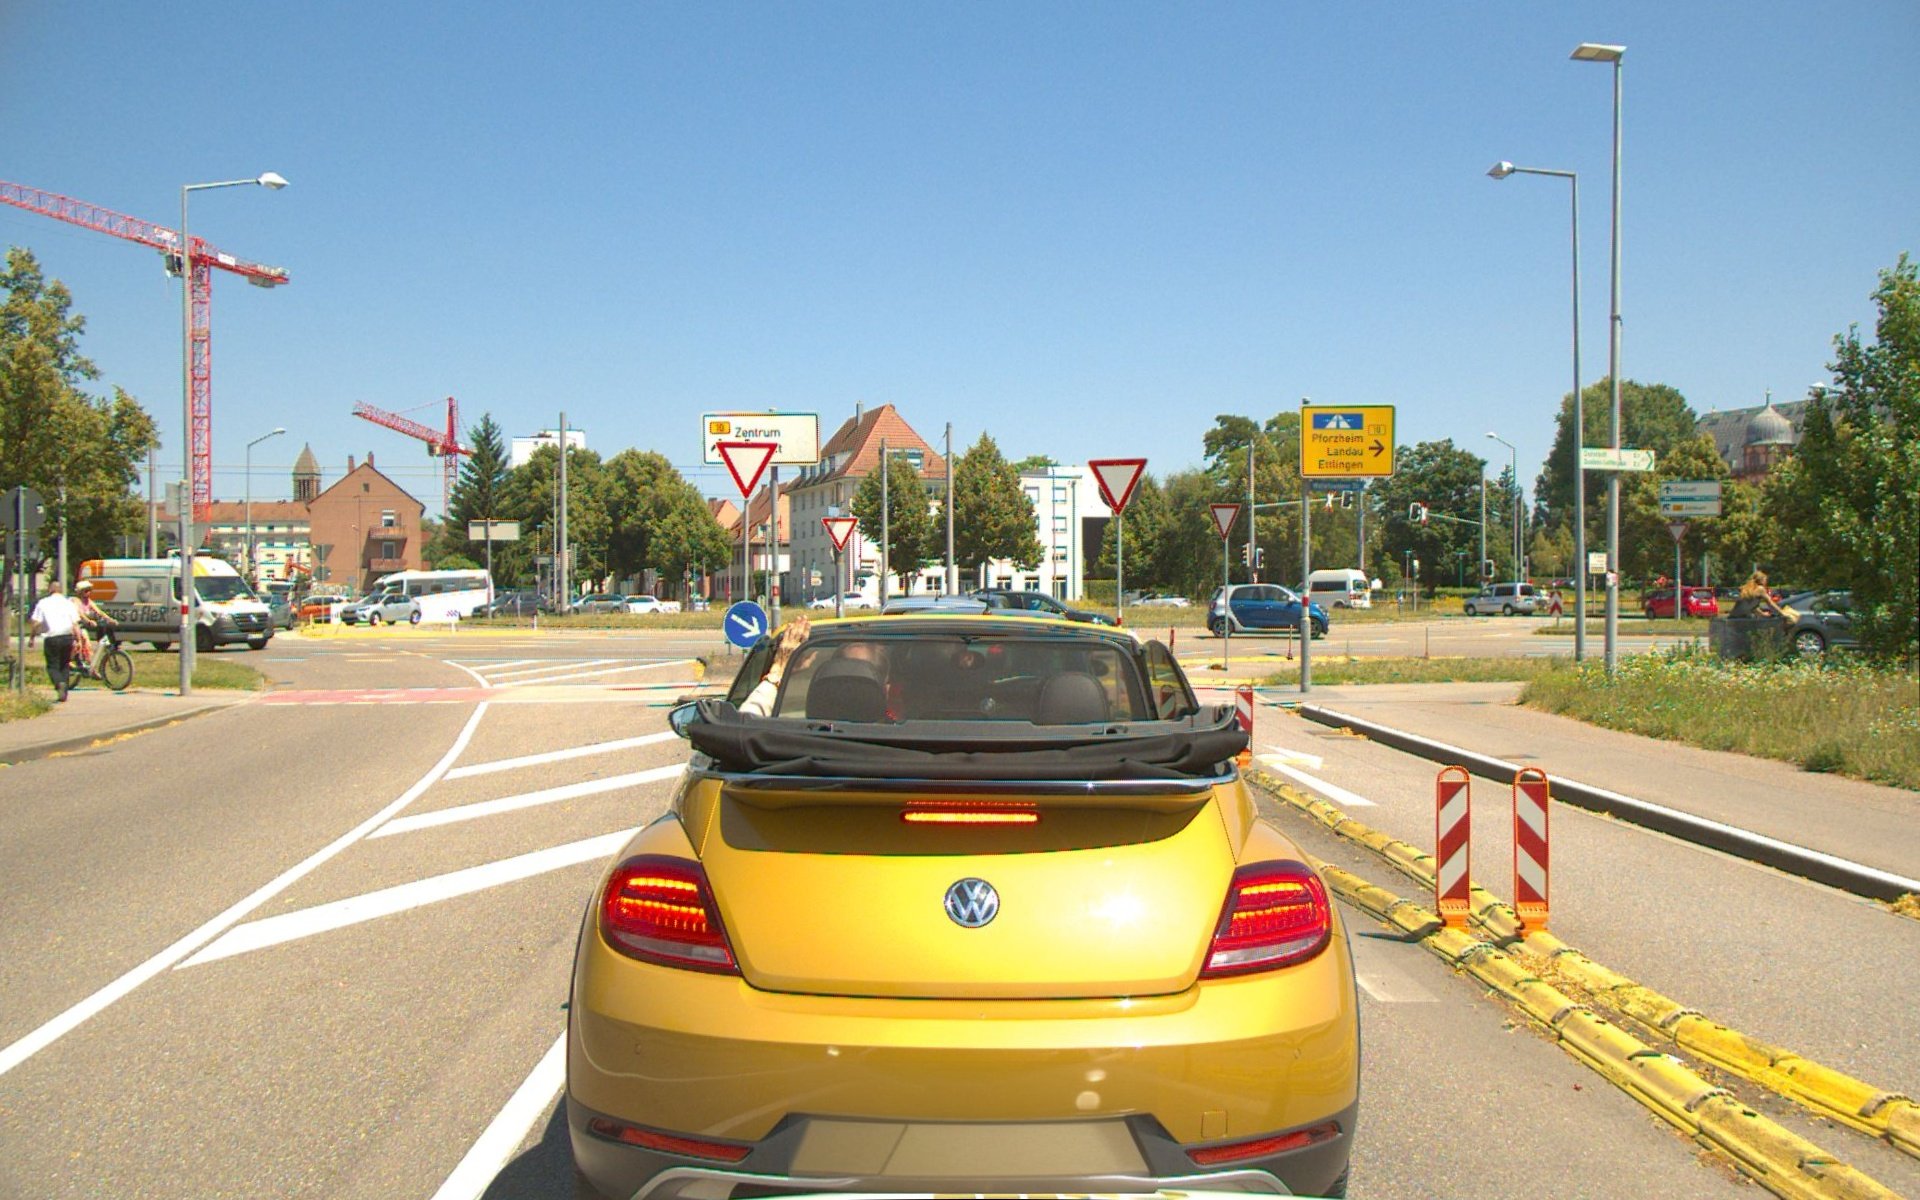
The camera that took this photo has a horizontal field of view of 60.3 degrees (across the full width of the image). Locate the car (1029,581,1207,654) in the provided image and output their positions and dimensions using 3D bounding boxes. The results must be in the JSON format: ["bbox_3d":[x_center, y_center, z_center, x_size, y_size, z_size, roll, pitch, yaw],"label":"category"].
[{"bbox_3d":[3.708,0.402,38.558,3.902,1.579,1.730,0,2,14],"label":"car"}]

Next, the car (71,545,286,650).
[{"bbox_3d":[-22.621,-0.111,47.769,6.731,2.877,1.997,1,0,28],"label":"car"}]

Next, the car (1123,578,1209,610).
[{"bbox_3d":[13.344,-0.370,107.179,5.199,1.996,1.995,1,0,18],"label":"car"}]

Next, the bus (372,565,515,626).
[{"bbox_3d":[-28.496,-0.231,91.415,7.206,3.228,2.229,1,-1,-40],"label":"bus"}]

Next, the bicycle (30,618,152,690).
[{"bbox_3d":[-15.406,0.952,29.322,2.047,1.242,0.634,-1,0,16],"label":"bicycle"}]

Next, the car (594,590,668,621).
[{"bbox_3d":[-19.535,0.324,98.296,3.957,1.803,1.763,1,0,-37],"label":"car"}]

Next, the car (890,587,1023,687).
[{"bbox_3d":[-0.081,0.551,27.624,2.023,1.506,4.542,-1,0,-1],"label":"car"}]

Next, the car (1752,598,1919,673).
[{"bbox_3d":[20.068,0.780,36.623,4.237,1.579,1.729,1,0,8],"label":"car"}]

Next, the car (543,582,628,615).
[{"bbox_3d":[-21.090,-0.070,93.227,4.411,1.766,1.818,1,-1,-45],"label":"car"}]

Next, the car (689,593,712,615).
[{"bbox_3d":[-21.427,0.342,136.874,1.721,1.825,3.994,1,0,-7],"label":"car"}]

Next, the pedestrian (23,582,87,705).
[{"bbox_3d":[-13.629,0.638,24.891,0.632,1.817,0.955,1,-1,-41],"label":"pedestrian"}]

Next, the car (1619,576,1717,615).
[{"bbox_3d":[32.219,-0.203,75.411,1.863,1.683,4.329,1,0,-15],"label":"car"}]

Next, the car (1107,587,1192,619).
[{"bbox_3d":[12.343,0.191,107.525,5.199,1.996,1.995,1,0,17],"label":"car"}]

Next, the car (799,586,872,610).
[{"bbox_3d":[-7.618,-0.110,100.892,4.241,1.395,1.747,1,0,-12],"label":"car"}]

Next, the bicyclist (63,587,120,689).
[{"bbox_3d":[-15.398,0.664,29.340,0.656,1.783,0.593,-1,-1,17],"label":"bicyclist"}]

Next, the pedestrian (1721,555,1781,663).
[{"bbox_3d":[12.771,0.143,26.724,0.717,1.721,0.575,1,-1,9],"label":"pedestrian"}]

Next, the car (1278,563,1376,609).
[{"bbox_3d":[20.304,-0.763,91.686,1.974,2.439,5.254,1,0,-38],"label":"car"}]

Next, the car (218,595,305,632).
[{"bbox_3d":[-27.574,0.530,65.429,1.711,1.395,4.329,1,0,-2],"label":"car"}]

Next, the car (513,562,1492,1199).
[{"bbox_3d":[0.050,0.710,5.074,1.729,1.507,4.257,1,0,-1],"label":"car"}]

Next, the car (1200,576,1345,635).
[{"bbox_3d":[8.832,0.164,46.944,3.902,1.579,1.729,1,0,6],"label":"car"}]

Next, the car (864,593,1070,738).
[{"bbox_3d":[0.044,0.661,18.574,2.023,1.406,4.257,1,0,-1],"label":"car"}]

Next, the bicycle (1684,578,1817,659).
[{"bbox_3d":[12.752,0.302,26.729,1.803,1.253,0.614,-2,-1,10],"label":"bicycle"}]

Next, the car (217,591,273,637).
[{"bbox_3d":[-25.774,0.476,59.553,1.753,1.554,3.842,-1,0,-25],"label":"car"}]

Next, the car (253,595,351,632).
[{"bbox_3d":[-33.526,0.689,84.265,4.386,1.766,1.829,1,0,-32],"label":"car"}]

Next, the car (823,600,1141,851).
[{"bbox_3d":[0.097,0.719,11.625,1.814,1.389,4.257,-1,0,-1],"label":"car"}]

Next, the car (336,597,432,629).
[{"bbox_3d":[-26.751,0.593,76.945,1.693,1.427,4.267,1,0,25],"label":"car"}]

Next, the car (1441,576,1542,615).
[{"bbox_3d":[29.857,-0.256,93.000,1.972,2.107,5.259,1,0,-36],"label":"car"}]
